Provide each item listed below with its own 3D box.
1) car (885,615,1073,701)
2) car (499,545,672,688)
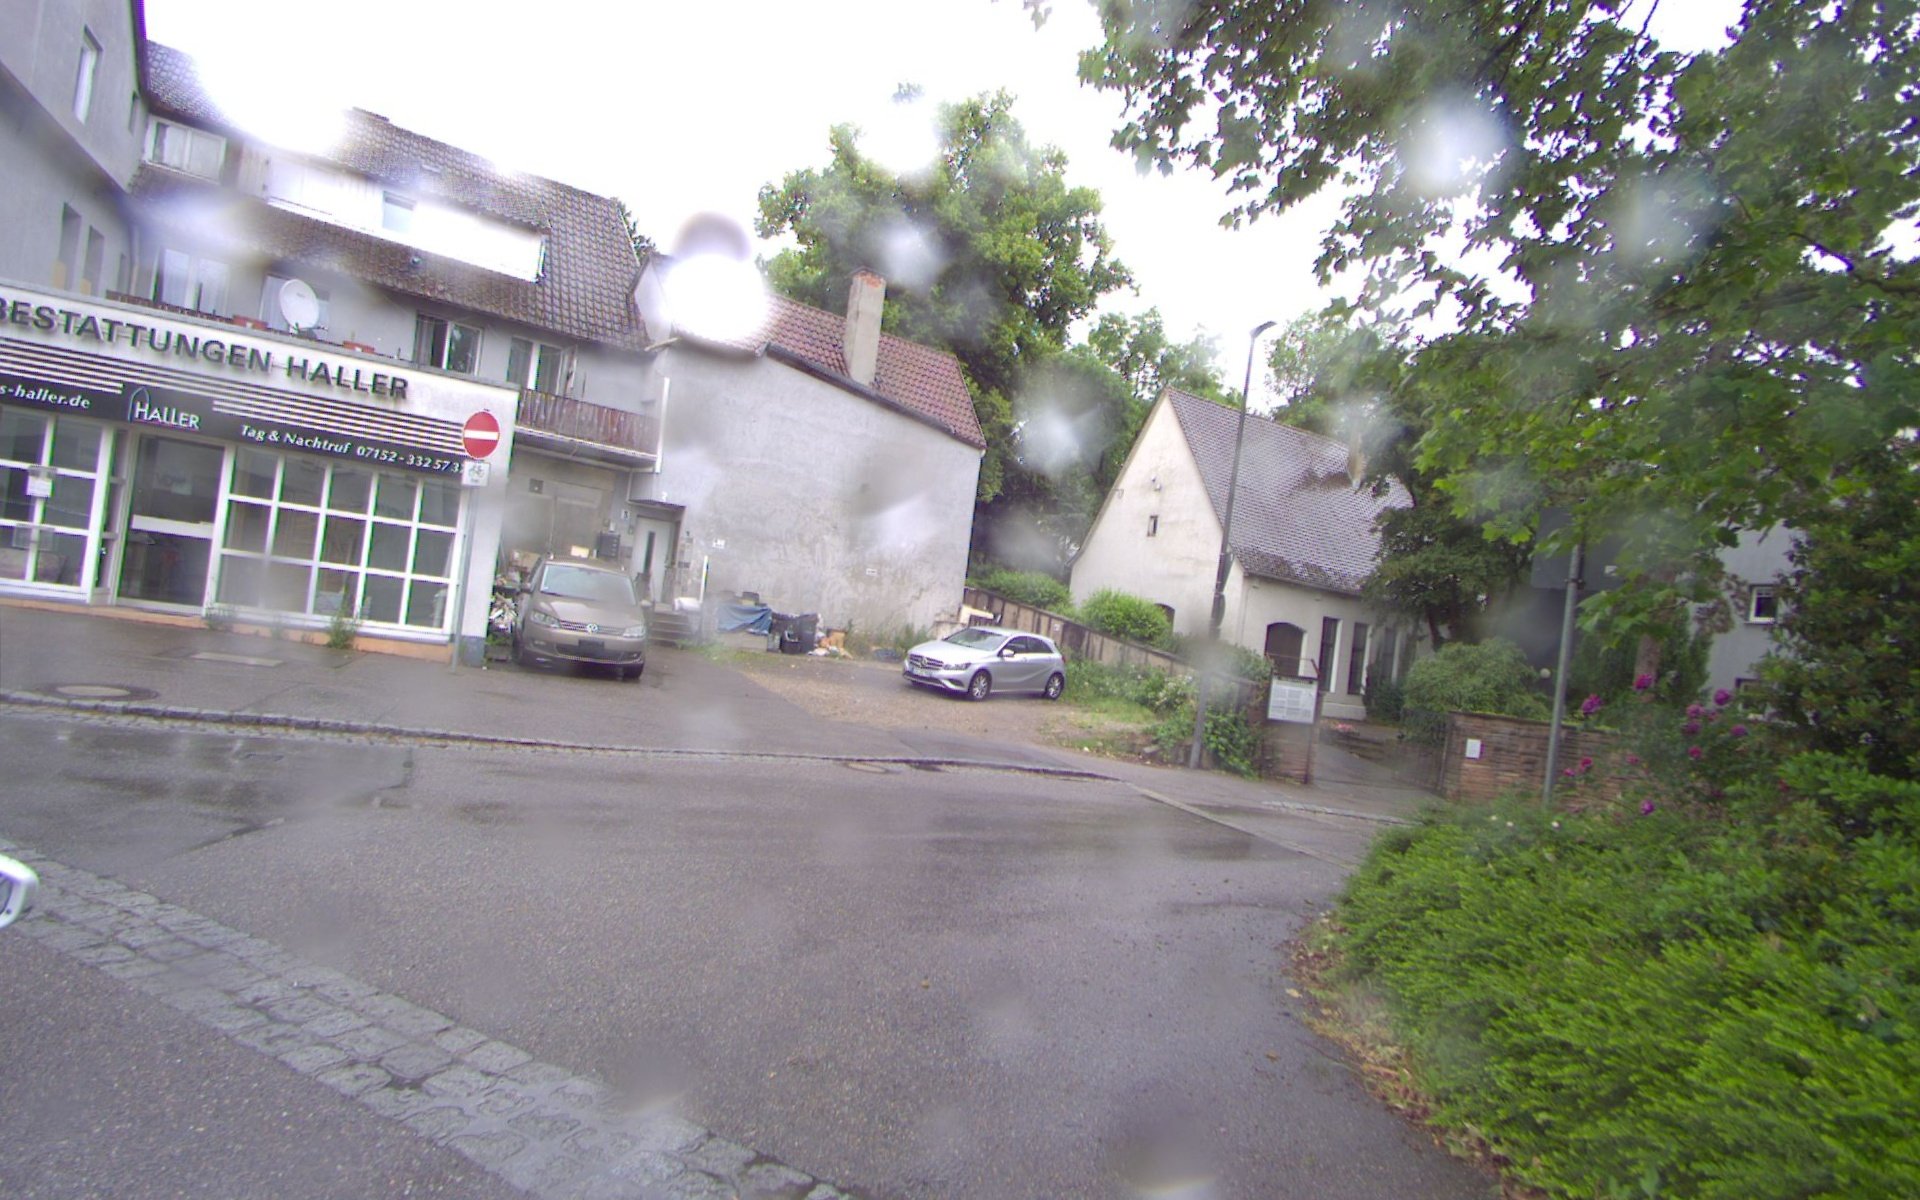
[{"bbox_3d":[0.499,1.274,21.390,1.717,1.406,4.022,10,2,40],"label":"car"},{"bbox_3d":[-6.294,0.152,16.559,1.908,1.749,4.633,8,0,-28],"label":"car"}]
